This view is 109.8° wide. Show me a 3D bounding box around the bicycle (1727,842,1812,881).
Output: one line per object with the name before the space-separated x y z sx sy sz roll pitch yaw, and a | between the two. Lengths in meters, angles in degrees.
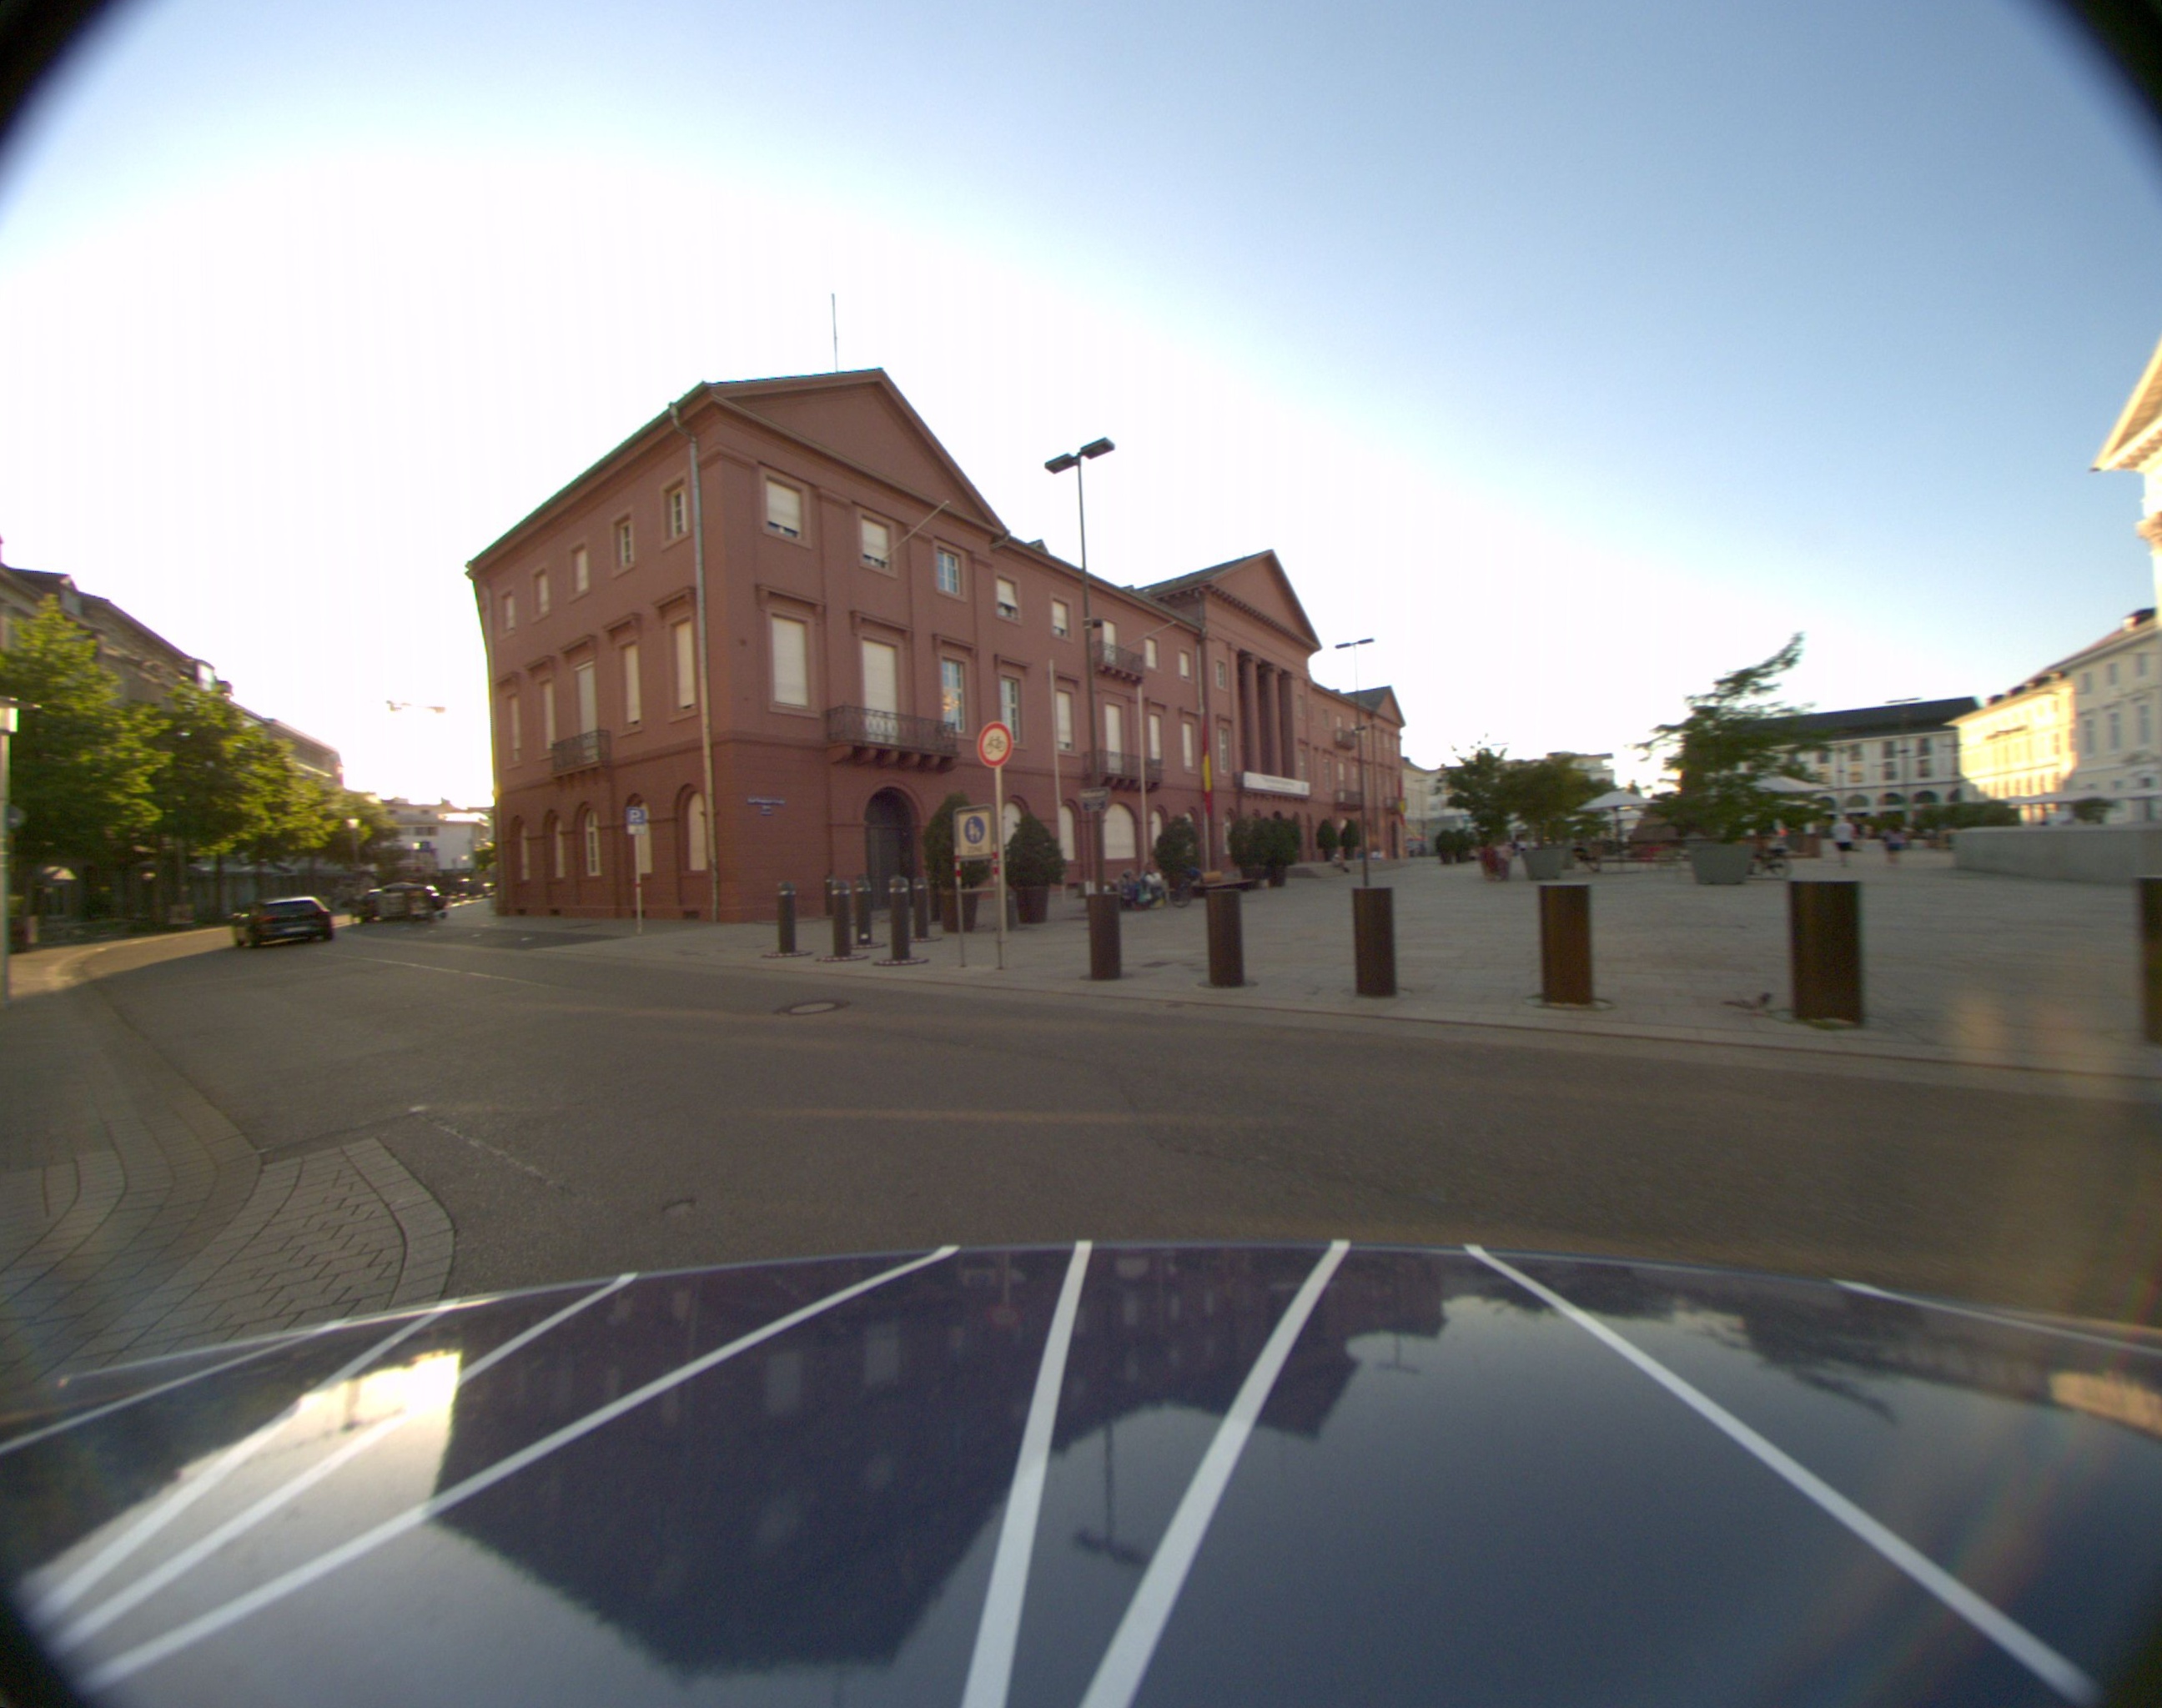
bicycle | 20.712 0.222 22.900 0.845 1.115 1.685 -3 0 -19

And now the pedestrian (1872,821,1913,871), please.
pedestrian | 28.661 -0.291 26.842 0.854 1.720 0.883 -2 1 40

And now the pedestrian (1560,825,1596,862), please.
pedestrian | 30.662 -0.632 46.913 1.250 2.222 1.506 -2 0 5

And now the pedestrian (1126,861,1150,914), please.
pedestrian | 1.620 0.941 21.574 0.583 1.439 0.831 -2 1 8

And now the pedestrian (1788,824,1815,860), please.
pedestrian | 34.706 -0.584 36.589 0.854 1.720 0.883 -2 1 40

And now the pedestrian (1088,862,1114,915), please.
pedestrian | 0.565 0.967 21.443 0.583 1.439 0.831 -2 1 8

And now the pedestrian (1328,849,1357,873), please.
pedestrian | 14.744 0.384 42.824 1.401 1.255 1.329 -2 0 24

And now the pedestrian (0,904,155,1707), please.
pedestrian | -2.061 0.964 1.003 0.766 1.720 0.668 -2 1 -10

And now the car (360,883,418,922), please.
car | -29.995 2.079 33.014 1.574 1.513 3.050 -3 0 -38

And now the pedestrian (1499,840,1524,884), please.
pedestrian | 15.671 0.295 27.633 0.682 1.549 0.654 -2 1 35

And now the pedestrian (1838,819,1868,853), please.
pedestrian | 43.815 -1.029 43.153 1.089 1.900 0.883 -2 1 40

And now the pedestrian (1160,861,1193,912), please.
pedestrian | 2.769 0.922 21.995 0.585 1.439 0.829 -3 1 -20

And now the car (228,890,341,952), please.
car | -24.836 2.016 23.656 3.989 1.587 1.850 -2 3 37

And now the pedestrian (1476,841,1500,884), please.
pedestrian | 15.048 0.320 28.087 0.682 1.557 0.654 -2 1 35

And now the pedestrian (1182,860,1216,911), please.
pedestrian | 3.453 0.916 22.191 0.585 1.439 0.829 -3 1 -22

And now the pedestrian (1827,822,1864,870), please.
pedestrian | 28.093 -0.301 27.931 0.854 1.720 0.883 -2 1 40
